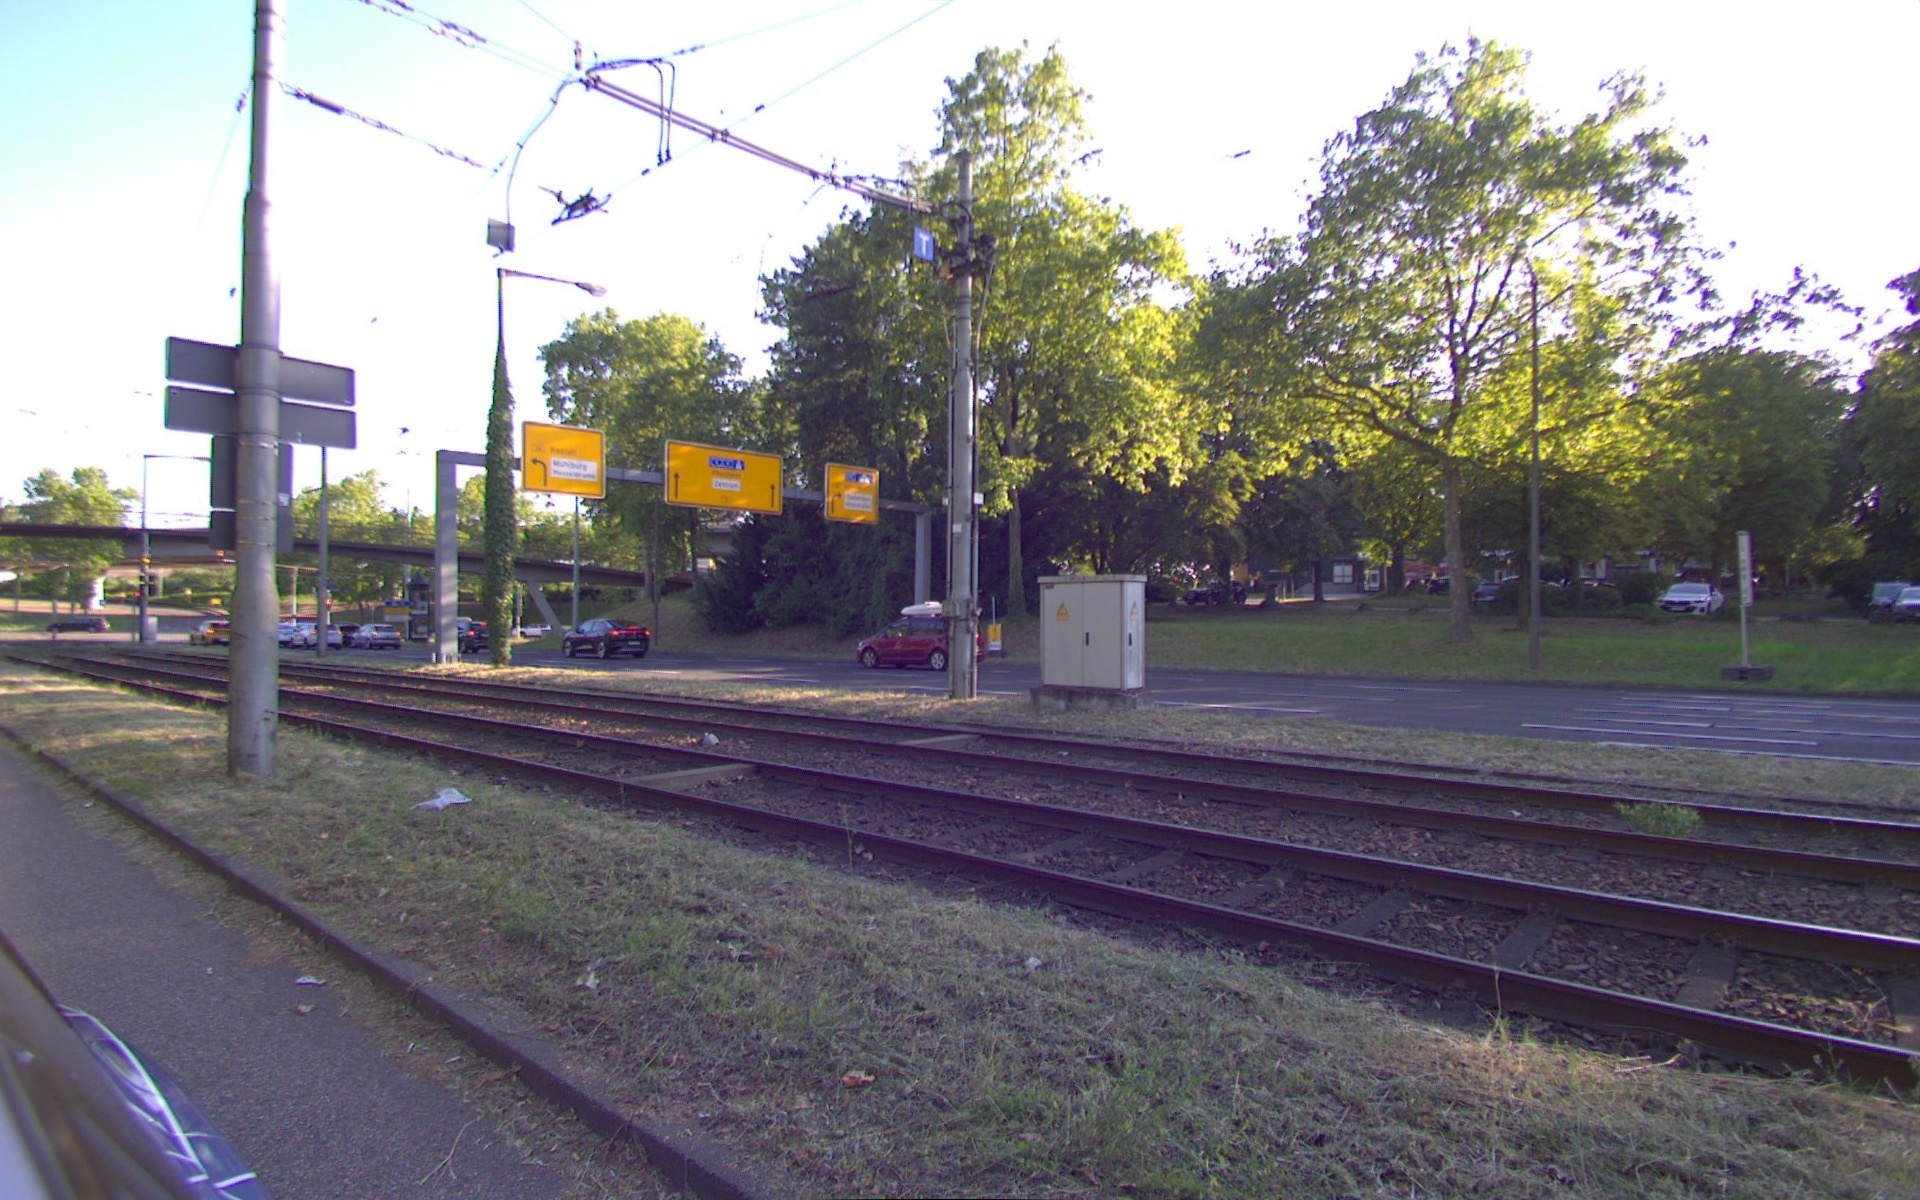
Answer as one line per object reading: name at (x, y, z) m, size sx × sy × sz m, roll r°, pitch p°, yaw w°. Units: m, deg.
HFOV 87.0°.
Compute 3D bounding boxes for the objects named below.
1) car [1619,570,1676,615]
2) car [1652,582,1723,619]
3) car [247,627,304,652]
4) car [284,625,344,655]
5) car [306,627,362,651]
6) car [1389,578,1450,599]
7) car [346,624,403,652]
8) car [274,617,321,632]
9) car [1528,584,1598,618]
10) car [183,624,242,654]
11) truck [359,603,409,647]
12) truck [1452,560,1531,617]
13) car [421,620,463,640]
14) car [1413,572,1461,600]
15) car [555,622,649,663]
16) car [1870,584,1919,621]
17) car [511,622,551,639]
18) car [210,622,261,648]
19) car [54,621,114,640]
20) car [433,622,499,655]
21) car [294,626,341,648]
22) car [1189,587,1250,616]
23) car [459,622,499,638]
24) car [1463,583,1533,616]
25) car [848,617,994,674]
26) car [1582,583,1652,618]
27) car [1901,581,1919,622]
car at (36.877, -0.397, 54.247) m, size 2.161 × 2.320 × 4.348 m, roll 0°, pitch 0°, yaw 40°
car at (31.553, 0.005, 43.852) m, size 1.942 × 1.521 × 4.039 m, roll 0°, pitch 0°, yaw 44°
car at (-40.583, 2.319, 59.962) m, size 4.226 × 1.435 × 1.893 m, roll -1°, pitch -1°, yaw 42°
car at (-35.750, 2.202, 55.963) m, size 3.997 × 1.556 × 1.744 m, roll -1°, pitch -1°, yaw 40°
car at (-39.771, 2.448, 64.236) m, size 4.224 × 1.435 × 1.844 m, roll -1°, pitch -1°, yaw 40°
car at (34.617, -0.851, 76.299) m, size 4.069 × 1.521 × 1.927 m, roll 0°, pitch 0°, yaw 21°
car at (-34.971, 2.254, 60.421) m, size 3.998 × 1.556 × 1.789 m, roll -1°, pitch -1°, yaw 41°
car at (-65.927, 2.442, 100.800) m, size 3.810 × 1.421 × 1.817 m, roll -1°, pitch 0°, yaw -30°
car at (28.417, 0.018, 47.665) m, size 1.942 × 1.521 × 4.039 m, roll 0°, pitch 0°, yaw 44°
car at (-40.813, 2.121, 55.263) m, size 3.997 × 1.556 × 1.744 m, roll -1°, pitch -1°, yaw 40°
truck at (-40.312, 1.738, 70.775) m, size 2.248 × 2.901 × 6.895 m, roll 0°, pitch -1°, yaw -37°
truck at (31.734, -0.686, 60.292) m, size 2.503 × 3.191 × 6.137 m, roll 0°, pitch 0°, yaw 45°
car at (-52.395, 3.050, 102.393) m, size 3.748 × 1.872 × 1.682 m, roll -1°, pitch 0°, yaw -30°
car at (33.547, -0.991, 71.069) m, size 2.290 × 1.864 × 5.214 m, roll -1°, pitch 1°, yaw 34°
car at (-14.568, 1.686, 41.101) m, size 4.332 × 1.556 × 1.713 m, roll -1°, pitch -2°, yaw 41°
car at (43.960, 0.098, 47.234) m, size 3.998 × 1.628 × 1.864 m, roll -1°, pitch 0°, yaw -43°
car at (-45.186, 3.182, 106.630) m, size 3.747 × 1.591 × 1.683 m, roll -1°, pitch 0°, yaw -26°
car at (-45.847, 2.180, 64.051) m, size 4.228 × 1.561 × 1.892 m, roll -1°, pitch -2°, yaw 44°
car at (-80.084, 2.768, 92.584) m, size 3.810 × 1.677 × 1.817 m, roll -1°, pitch 0°, yaw -28°
car at (-24.331, 1.897, 49.803) m, size 1.731 × 1.569 × 3.975 m, roll 2°, pitch -3°, yaw -45°
car at (-44.283, 2.504, 69.681) m, size 1.891 × 1.435 × 4.229 m, roll 0°, pitch -1°, yaw -44°
car at (15.386, 0.063, 59.965) m, size 1.791 × 1.657 × 3.942 m, roll -1°, pitch -1°, yaw 44°
car at (-51.509, 3.184, 108.439) m, size 3.728 × 1.510 × 1.769 m, roll -1°, pitch 0°, yaw -32°
car at (26.161, -0.042, 49.193) m, size 1.942 × 1.521 × 4.039 m, roll 0°, pitch 0°, yaw 44°
car at (-1.244, 1.361, 31.258) m, size 4.301 × 1.647 × 1.821 m, roll -1°, pitch -2°, yaw 35°
car at (30.026, 0.009, 46.228) m, size 1.942 × 1.521 × 4.039 m, roll 0°, pitch 0°, yaw 44°
car at (37.572, 0.039, 38.901) m, size 1.942 × 1.521 × 4.039 m, roll 0°, pitch 0°, yaw 44°
